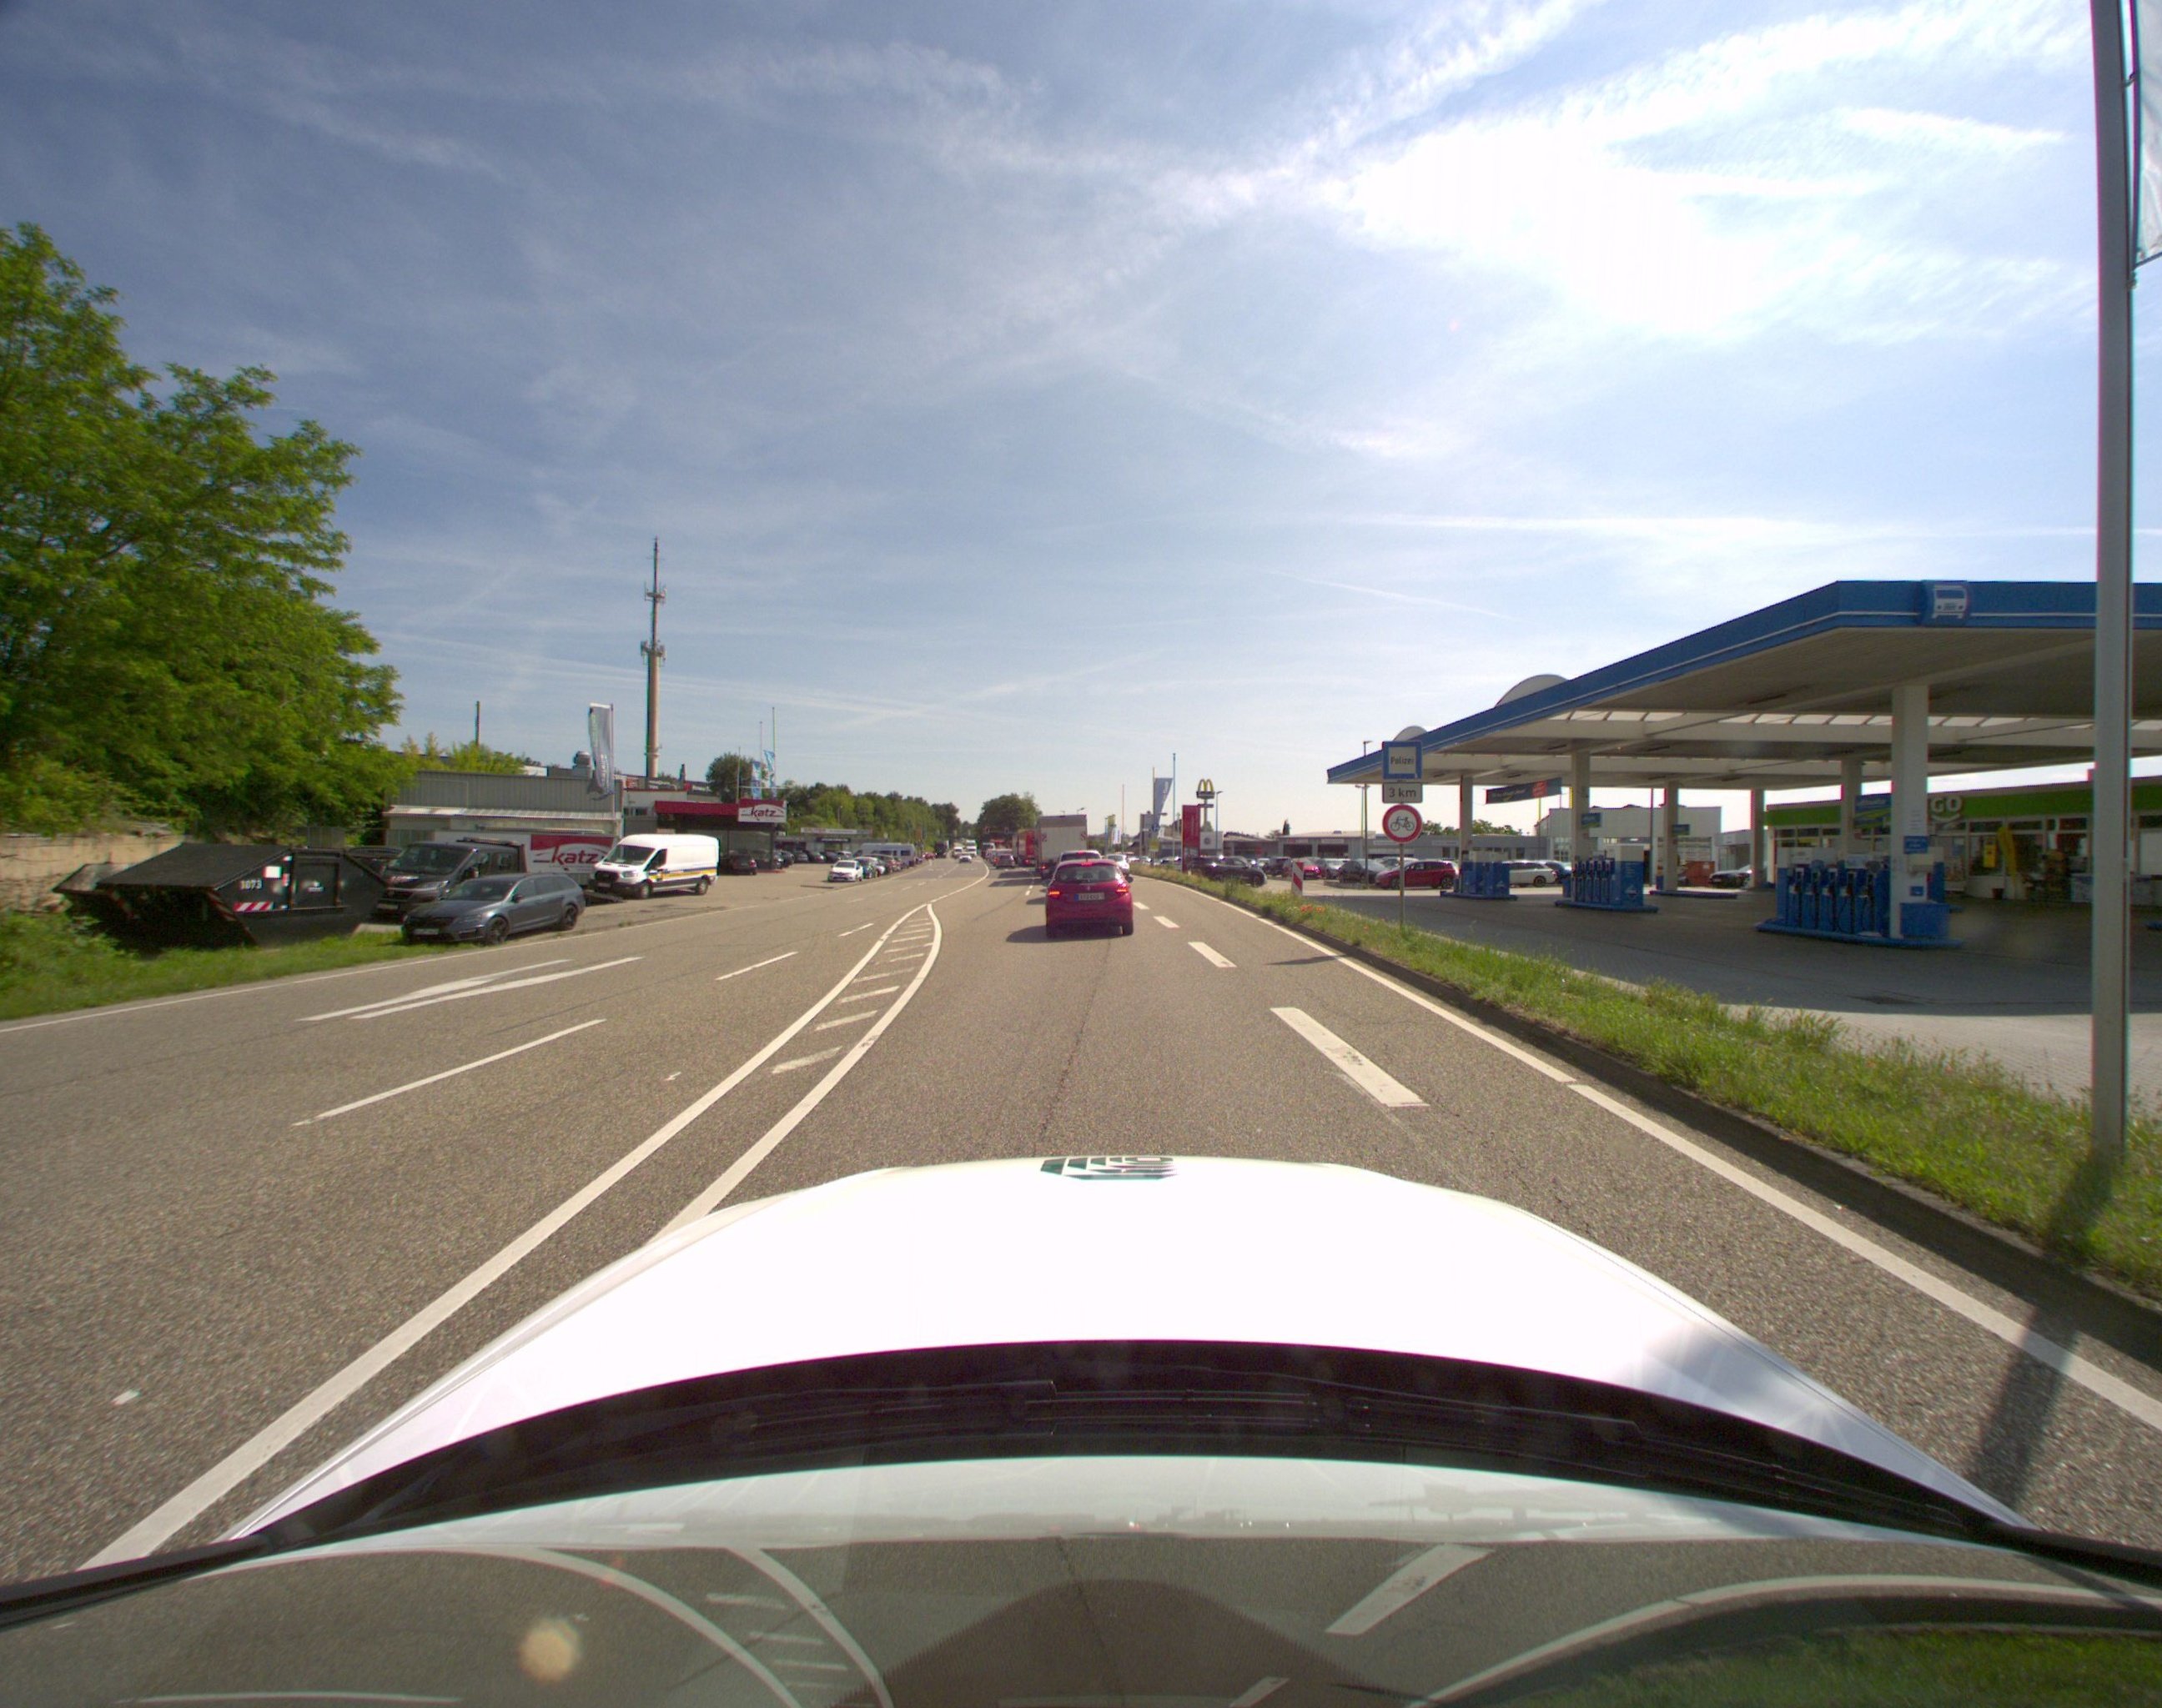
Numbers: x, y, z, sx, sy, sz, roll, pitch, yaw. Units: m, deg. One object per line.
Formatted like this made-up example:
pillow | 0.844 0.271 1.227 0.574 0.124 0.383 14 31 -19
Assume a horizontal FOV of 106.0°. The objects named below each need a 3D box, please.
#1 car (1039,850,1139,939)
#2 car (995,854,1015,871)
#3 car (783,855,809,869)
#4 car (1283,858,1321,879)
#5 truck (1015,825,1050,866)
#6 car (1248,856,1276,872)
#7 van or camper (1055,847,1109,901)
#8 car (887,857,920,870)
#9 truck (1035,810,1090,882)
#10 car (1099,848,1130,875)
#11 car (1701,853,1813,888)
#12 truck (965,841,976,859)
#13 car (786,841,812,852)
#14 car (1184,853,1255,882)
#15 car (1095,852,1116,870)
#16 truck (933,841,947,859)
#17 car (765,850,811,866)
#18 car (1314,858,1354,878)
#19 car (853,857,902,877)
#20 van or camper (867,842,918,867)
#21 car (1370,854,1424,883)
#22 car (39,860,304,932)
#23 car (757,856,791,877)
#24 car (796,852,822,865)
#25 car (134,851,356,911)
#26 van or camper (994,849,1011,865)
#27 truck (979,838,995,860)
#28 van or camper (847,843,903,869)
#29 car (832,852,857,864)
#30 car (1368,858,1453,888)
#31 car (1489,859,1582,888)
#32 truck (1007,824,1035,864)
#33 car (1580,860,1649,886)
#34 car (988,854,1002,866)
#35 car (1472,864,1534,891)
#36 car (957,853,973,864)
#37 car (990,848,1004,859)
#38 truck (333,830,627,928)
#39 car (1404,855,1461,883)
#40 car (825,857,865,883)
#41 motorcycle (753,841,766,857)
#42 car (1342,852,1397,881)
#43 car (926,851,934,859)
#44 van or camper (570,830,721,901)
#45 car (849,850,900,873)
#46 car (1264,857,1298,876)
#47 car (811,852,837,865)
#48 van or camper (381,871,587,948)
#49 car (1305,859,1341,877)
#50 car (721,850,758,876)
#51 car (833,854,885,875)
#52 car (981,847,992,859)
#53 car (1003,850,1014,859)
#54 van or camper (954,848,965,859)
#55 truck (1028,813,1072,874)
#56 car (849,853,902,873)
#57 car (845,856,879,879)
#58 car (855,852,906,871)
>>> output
car | 0.125 0.747 16.867 1.795 1.572 3.712 -2 0 -1
car | -7.478 0.804 80.402 1.787 1.638 3.499 -1 0 -4
car | -35.166 0.989 100.599 1.778 1.588 3.784 -1 0 -40
car | 16.243 1.057 59.985 1.555 1.409 3.590 -2 0 -4
truck | -5.748 -0.959 93.951 2.954 4.269 16.543 0 0 -7
car | 17.208 0.954 77.491 1.555 1.409 3.590 -2 0 -4
van or camper | -0.044 0.670 29.476 1.742 1.787 5.128 0 0 -2
car | -21.775 1.147 99.915 3.814 1.539 1.837 -1 0 -8
truck | -1.294 -0.441 49.297 2.873 3.811 11.127 -1 0 -4
car | 2.212 0.514 54.858 1.986 1.750 4.001 0 0 1
car | 32.469 0.775 39.162 3.974 1.637 1.754 0 0 -1
truck | -27.778 -1.000 204.783 2.551 4.307 7.576 -2 1 -7
car | -38.811 -0.980 112.122 3.701 1.450 1.747 -1 -1 42
car | 7.609 0.743 44.732 3.605 1.409 1.549 -2 0 -28
car | 2.425 0.674 80.645 1.986 1.750 4.001 0 0 1
truck | -31.269 -0.902 180.703 2.814 3.786 6.963 -2 1 -11
car | -28.749 0.385 79.842 3.963 1.532 1.752 -1 0 -30
car | 18.586 1.014 60.022 1.555 1.409 3.590 -2 0 -4
car | -16.686 1.022 66.830 3.706 1.525 1.787 -1 0 -9
van or camper | -20.789 0.071 90.083 5.239 2.731 2.206 0 0 -6
car | 19.249 0.855 49.746 1.555 1.594 3.855 -2 0 -4
car | -20.532 0.899 18.579 3.665 1.511 1.708 0 0 -15
car | -26.096 1.070 69.181 1.833 1.675 4.085 6 -4 -32
car | -34.315 0.512 102.651 1.778 1.588 3.784 -1 0 -40
car | -21.781 0.654 21.425 3.676 1.469 1.726 0 0 -24
van or camper | -9.643 0.344 99.857 1.851 1.905 3.774 0 0 -8
truck | -19.123 -1.002 165.868 2.952 4.208 10.625 -2 1 -6
van or camper | -23.283 0.194 92.236 5.887 2.873 2.284 0 1 -8
car | -30.882 0.534 106.239 1.778 1.588 3.784 -1 0 -40
car | 17.830 1.026 44.207 3.890 1.572 1.806 -1 0 0
car | 24.883 1.047 44.607 4.320 1.494 1.561 0 0 -4
truck | -8.533 -1.372 114.727 3.060 5.220 16.964 0 0 -7
car | 31.934 1.121 48.850 1.555 1.409 3.590 -2 0 -4
car | -11.334 0.755 107.360 1.725 1.519 3.304 0 0 -7
car | 24.876 1.369 48.141 1.555 1.409 3.590 -2 0 -4
car | -17.529 0.681 123.207 1.932 1.674 3.994 -2 0 -4
car | -12.163 -0.082 117.963 1.722 1.519 3.309 0 0 -2
truck | -17.643 0.627 24.984 2.323 2.297 8.801 4 0 0
car | 21.702 0.896 50.462 1.611 1.594 3.855 -2 0 -4
car | -15.719 1.021 54.384 1.776 1.618 3.993 0 0 -5
motorcycle | -25.599 -0.406 64.852 0.774 1.261 2.037 -1 0 -27
car | 17.070 0.715 48.354 1.611 1.594 3.855 -2 0 -4
car | -38.966 0.296 209.778 1.995 2.014 3.984 0 -1 -12
van or camper | -17.358 0.412 32.971 2.142 2.499 5.964 3 0 8
car | -17.507 0.599 69.231 3.884 1.716 1.801 3 0 -9
car | 15.908 0.953 64.968 1.555 1.409 3.590 -2 0 -4
car | -32.849 0.520 104.092 1.778 1.588 3.784 -1 0 -40
van or camper | -13.876 1.206 19.309 1.635 1.524 4.465 0 0 -1
car | 19.494 1.109 65.773 1.555 1.409 3.683 -2 0 -4
car | -23.605 0.612 56.195 1.864 1.504 4.356 2 1 -29
car | -17.552 0.805 64.593 3.795 1.525 1.841 -1 0 -9
car | -16.213 -0.159 140.057 1.723 1.909 3.307 0 -1 -4
car | -12.126 0.125 136.286 1.725 1.519 3.303 0 -1 -8
van or camper | -26.768 -0.097 179.617 2.172 2.551 4.159 0 0 -8
truck | -2.722 -0.748 65.582 2.885 4.266 16.682 -1 0 -5
car | -18.198 0.779 72.303 4.275 1.484 1.830 3 0 -9
car | -16.488 0.995 61.527 1.776 1.494 3.775 4 0 -5
car | -18.984 0.714 77.338 4.457 1.484 1.766 3 0 -9
